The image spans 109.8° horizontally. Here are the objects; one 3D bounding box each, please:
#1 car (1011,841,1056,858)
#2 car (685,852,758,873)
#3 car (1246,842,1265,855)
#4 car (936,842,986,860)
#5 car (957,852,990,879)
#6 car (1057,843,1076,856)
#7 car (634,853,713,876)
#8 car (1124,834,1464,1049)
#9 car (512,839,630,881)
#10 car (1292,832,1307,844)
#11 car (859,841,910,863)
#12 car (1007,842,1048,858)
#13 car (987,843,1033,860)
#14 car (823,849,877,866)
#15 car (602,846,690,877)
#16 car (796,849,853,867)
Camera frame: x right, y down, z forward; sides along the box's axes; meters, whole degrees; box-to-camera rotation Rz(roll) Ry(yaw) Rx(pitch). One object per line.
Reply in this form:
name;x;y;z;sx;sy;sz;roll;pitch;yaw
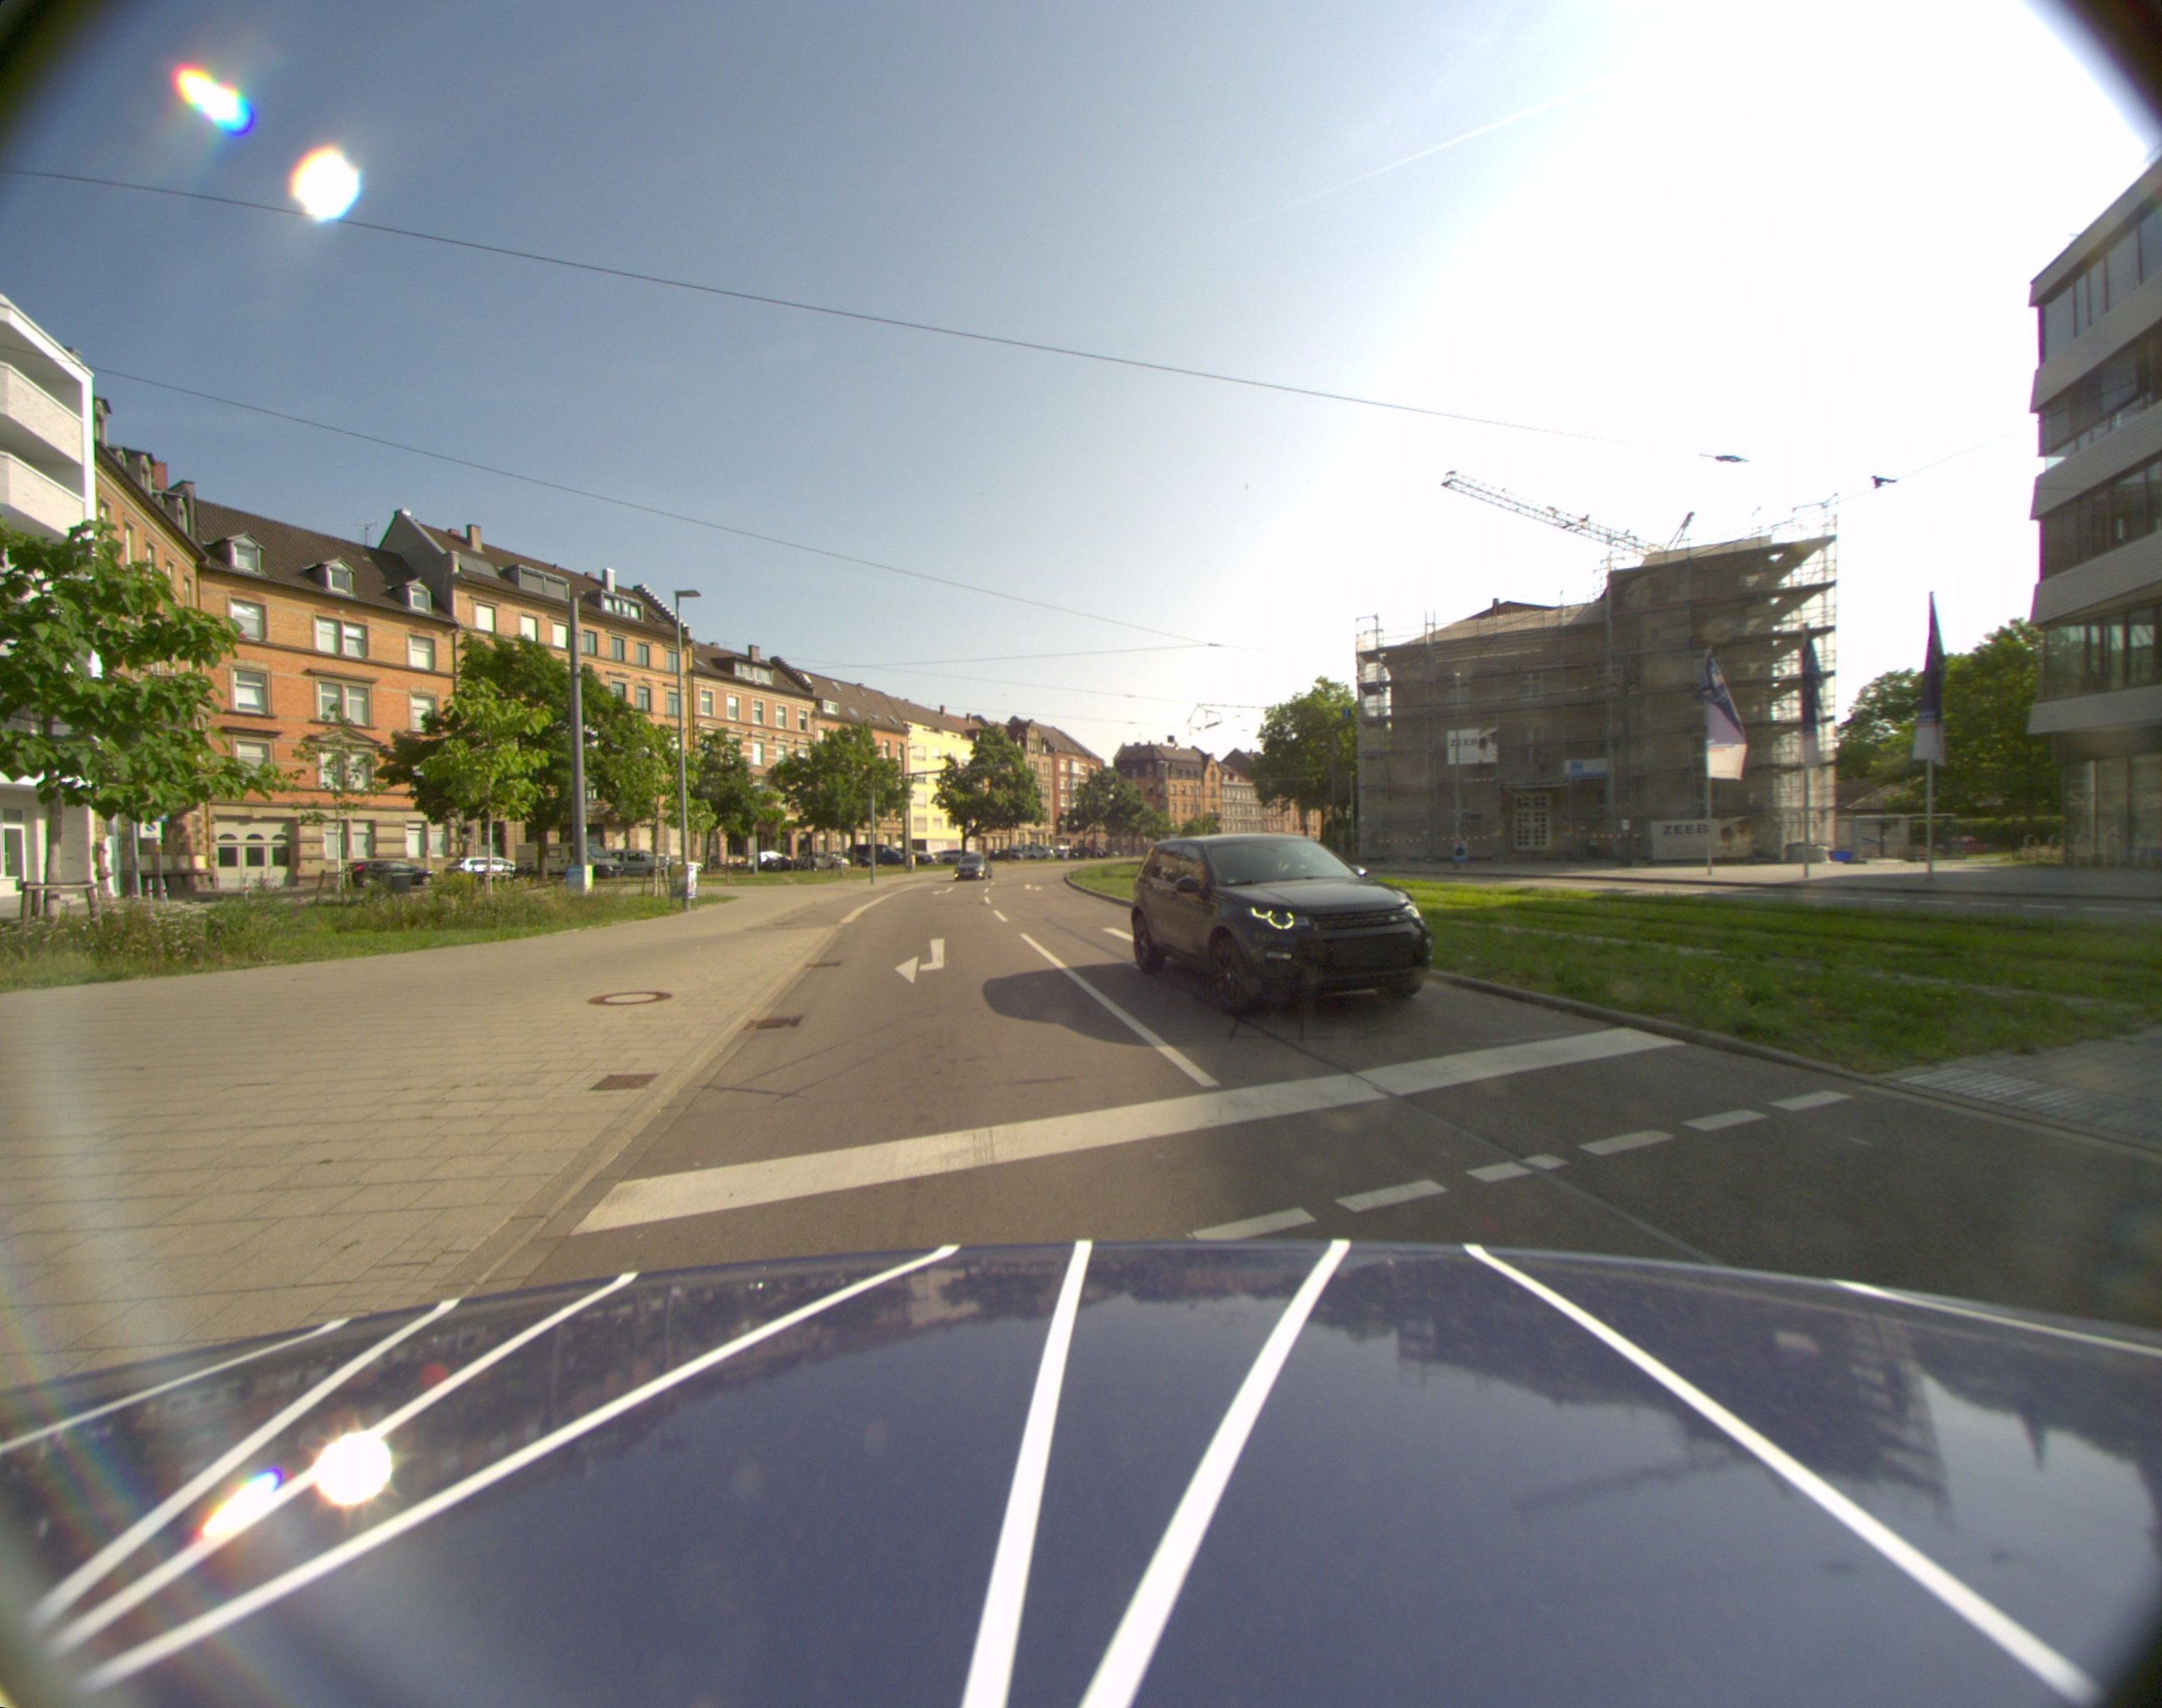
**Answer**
car;-5.478;-0.499;87.118;4.929;1.827;1.719;0;1;-13
car;-23.204;0.528;49.135;3.856;1.242;1.720;-1;1;-8
car;27.410;-0.921;119.262;1.995;2.002;4.007;0;1;27
car;-11.809;-0.327;74.977;4.736;1.755;1.721;0;1;-1
car;-6.093;0.640;43.479;1.644;1.411;3.893;-1;1;-5
car;-2.105;-0.644;109.293;1.326;1.722;2.790;0;1;36
car;-24.928;0.632;46.610;3.856;1.242;1.720;-1;1;-8
car;1.864;0.663;8.159;1.803;1.668;4.216;-1;1;-11
car;-27.741;0.304;41.462;5.044;2.166;1.879;-1;1;-2
car;39.785;-2.877;138.455;1.995;1.967;4.005;-2;2;24
car;-16.390;-0.177;63.405;3.855;1.795;1.785;-1;1;-6
car;-5.990;-0.404;84.358;4.420;1.755;1.720;0;1;-9
car;-7.619;-0.310;81.593;4.736;1.755;1.721;0;1;-1
car;-18.272;0.253;60.282;3.856;1.242;1.720;-1;1;-8
car;-25.344;0.397;44.385;3.984;1.696;1.878;-1;1;-8
car;-19.585;0.300;58.123;3.856;1.242;1.720;-1;1;-8
